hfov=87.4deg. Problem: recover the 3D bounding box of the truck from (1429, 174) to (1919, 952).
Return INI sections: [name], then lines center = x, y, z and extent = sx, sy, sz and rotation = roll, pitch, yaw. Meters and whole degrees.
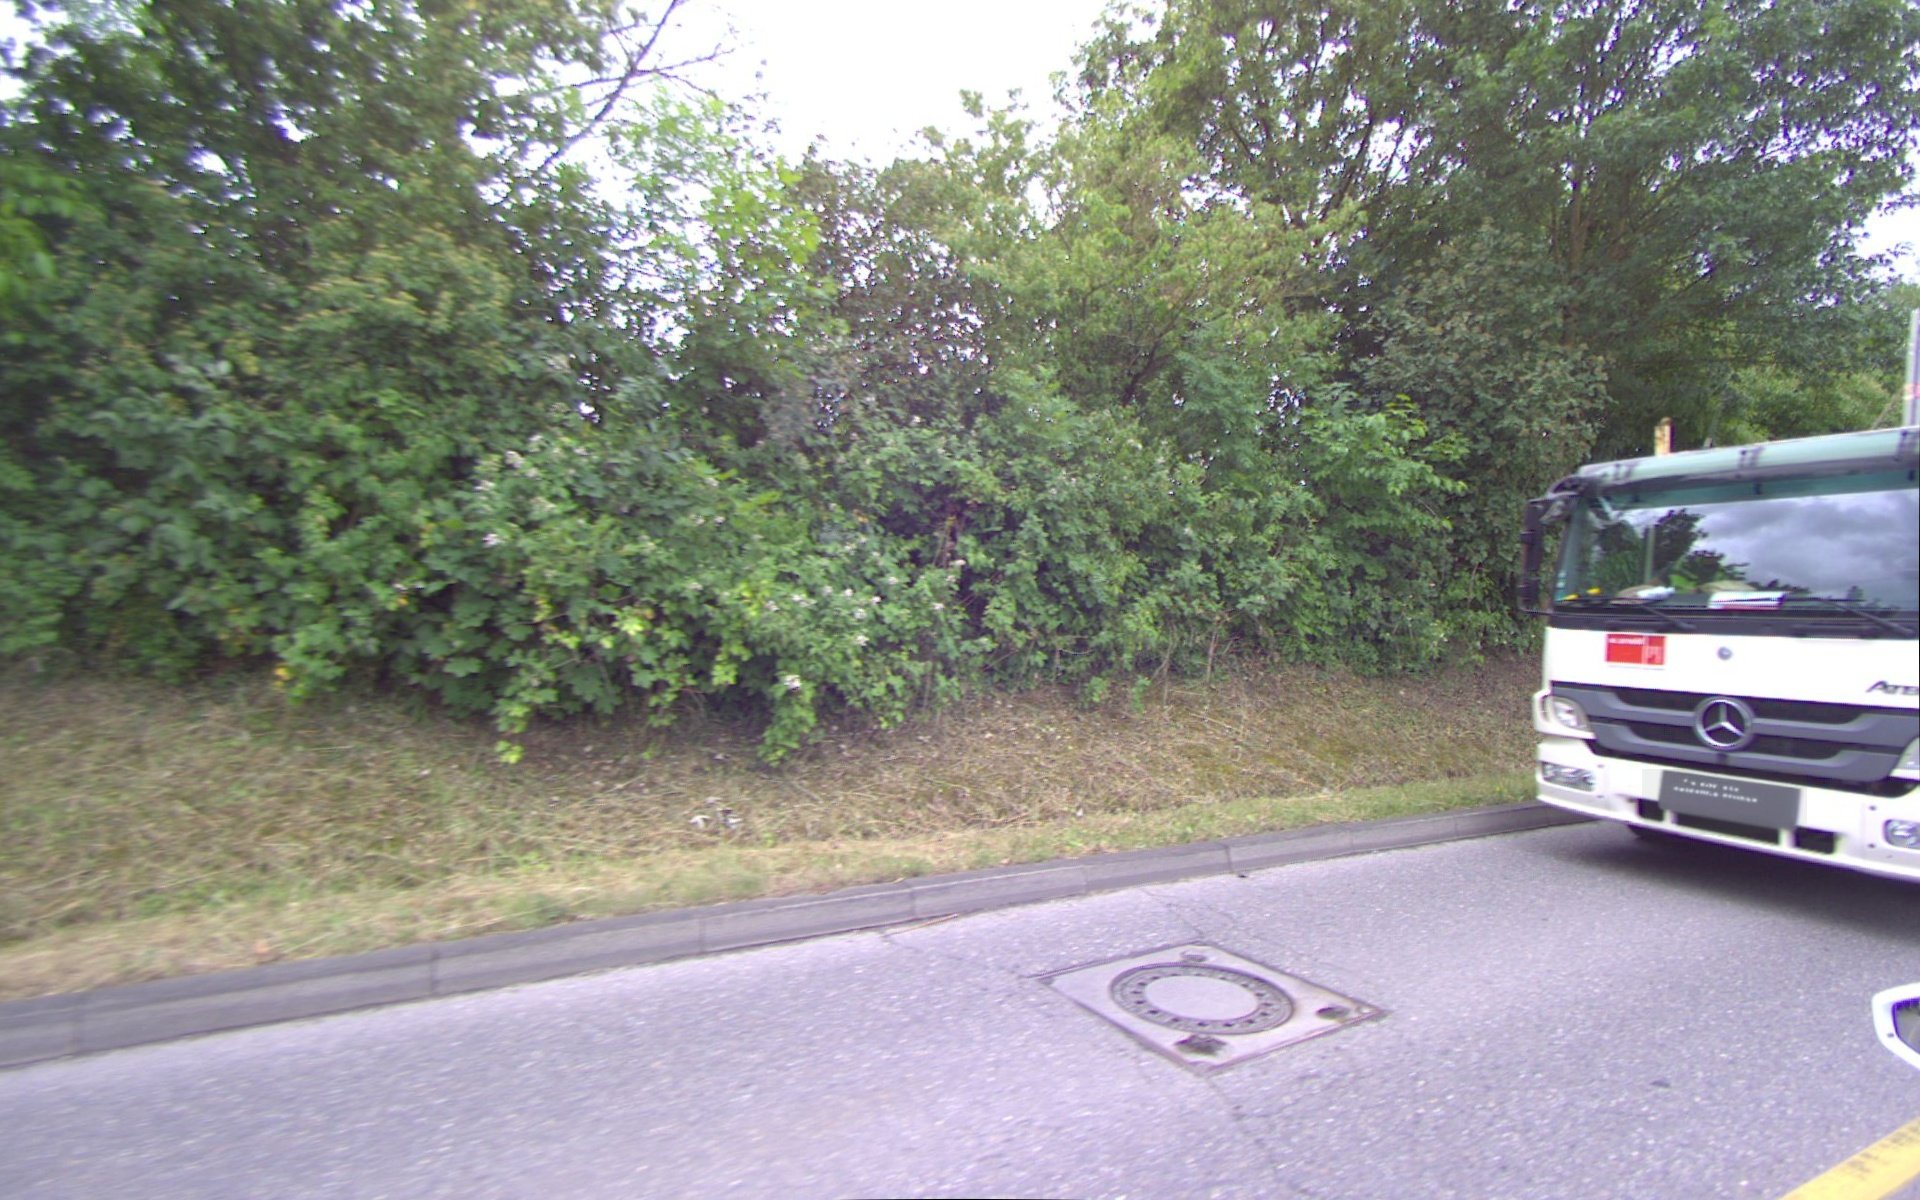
[truck]
center = 6.922, -0.068, 6.906
extent = 7.517, 3.301, 2.739
rotation = 2, 0, -29
